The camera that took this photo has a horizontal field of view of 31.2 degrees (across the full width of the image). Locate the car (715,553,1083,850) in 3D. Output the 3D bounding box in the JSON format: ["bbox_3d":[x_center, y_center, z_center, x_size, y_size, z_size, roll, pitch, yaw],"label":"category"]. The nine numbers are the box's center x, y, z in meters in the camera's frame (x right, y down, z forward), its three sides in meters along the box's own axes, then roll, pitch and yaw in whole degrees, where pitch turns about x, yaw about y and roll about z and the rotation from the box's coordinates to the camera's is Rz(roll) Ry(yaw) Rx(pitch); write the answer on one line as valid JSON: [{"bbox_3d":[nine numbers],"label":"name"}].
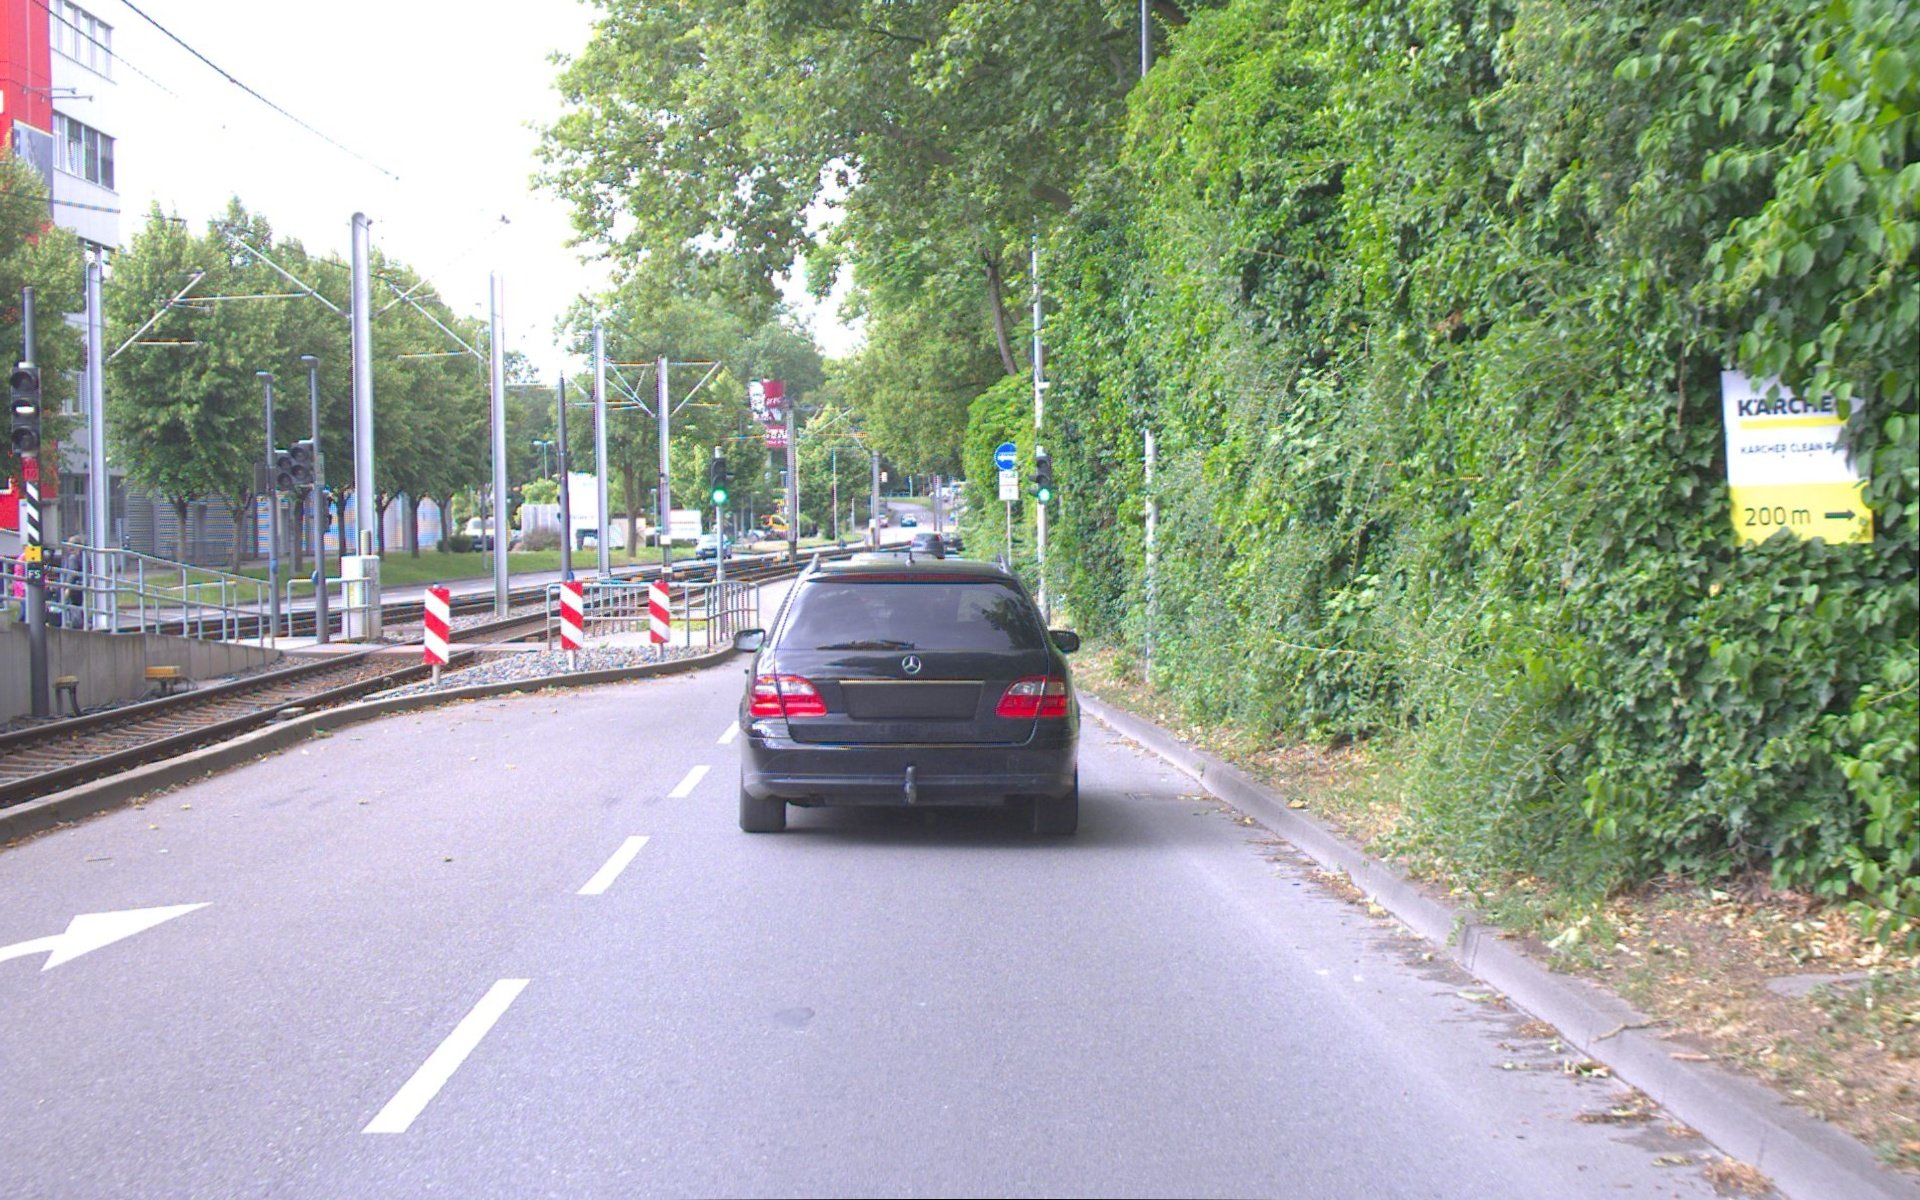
[{"bbox_3d":[-0.302,0.478,19.321,1.833,1.473,4.416,0,1,0],"label":"car"}]

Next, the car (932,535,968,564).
[{"bbox_3d":[-0.517,-2.747,185.181,1.825,1.524,3.927,0,1,1],"label":"car"}]

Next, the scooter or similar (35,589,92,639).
[{"bbox_3d":[-14.464,0.223,55.460,0.496,0.765,0.798,-2,1,21],"label":"scooter or similar"}]

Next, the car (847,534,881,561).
[{"bbox_3d":[-5.619,-3.070,201.010,1.825,1.524,3.986,0,1,1],"label":"car"}]

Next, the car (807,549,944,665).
[{"bbox_3d":[-1.175,0.059,48.269,1.825,1.524,4.416,0,1,-1],"label":"car"}]

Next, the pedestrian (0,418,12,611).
[{"bbox_3d":[-8.838,-0.720,29.796,0.745,1.672,0.874,-2,1,43],"label":"pedestrian"}]

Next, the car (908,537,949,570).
[{"bbox_3d":[-1.489,-2.262,165.536,1.825,1.524,4.416,-1,1,1],"label":"car"}]

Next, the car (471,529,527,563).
[{"bbox_3d":[-24.235,-2.838,180.874,1.994,1.737,4.987,-1,1,3],"label":"car"}]

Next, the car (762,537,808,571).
[{"bbox_3d":[-7.950,-2.121,156.860,1.825,1.524,3.927,0,1,1],"label":"car"}]

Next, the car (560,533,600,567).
[{"bbox_3d":[-23.330,-3.063,211.081,1.993,2.007,4.000,-2,1,-1],"label":"car"}]

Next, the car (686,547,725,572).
[{"bbox_3d":[-14.425,-2.317,194.611,1.660,1.388,3.718,0,1,4],"label":"car"}]

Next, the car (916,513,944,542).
[{"bbox_3d":[-2.135,-5.168,246.005,1.891,2.007,3.898,-2,1,0],"label":"car"}]

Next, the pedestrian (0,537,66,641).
[{"bbox_3d":[-15.009,-0.188,55.654,0.613,1.648,0.795,-2,1,21],"label":"pedestrian"}]

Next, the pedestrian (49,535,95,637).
[{"bbox_3d":[-14.630,-0.230,56.632,0.517,1.656,0.465,-2,1,10],"label":"pedestrian"}]
